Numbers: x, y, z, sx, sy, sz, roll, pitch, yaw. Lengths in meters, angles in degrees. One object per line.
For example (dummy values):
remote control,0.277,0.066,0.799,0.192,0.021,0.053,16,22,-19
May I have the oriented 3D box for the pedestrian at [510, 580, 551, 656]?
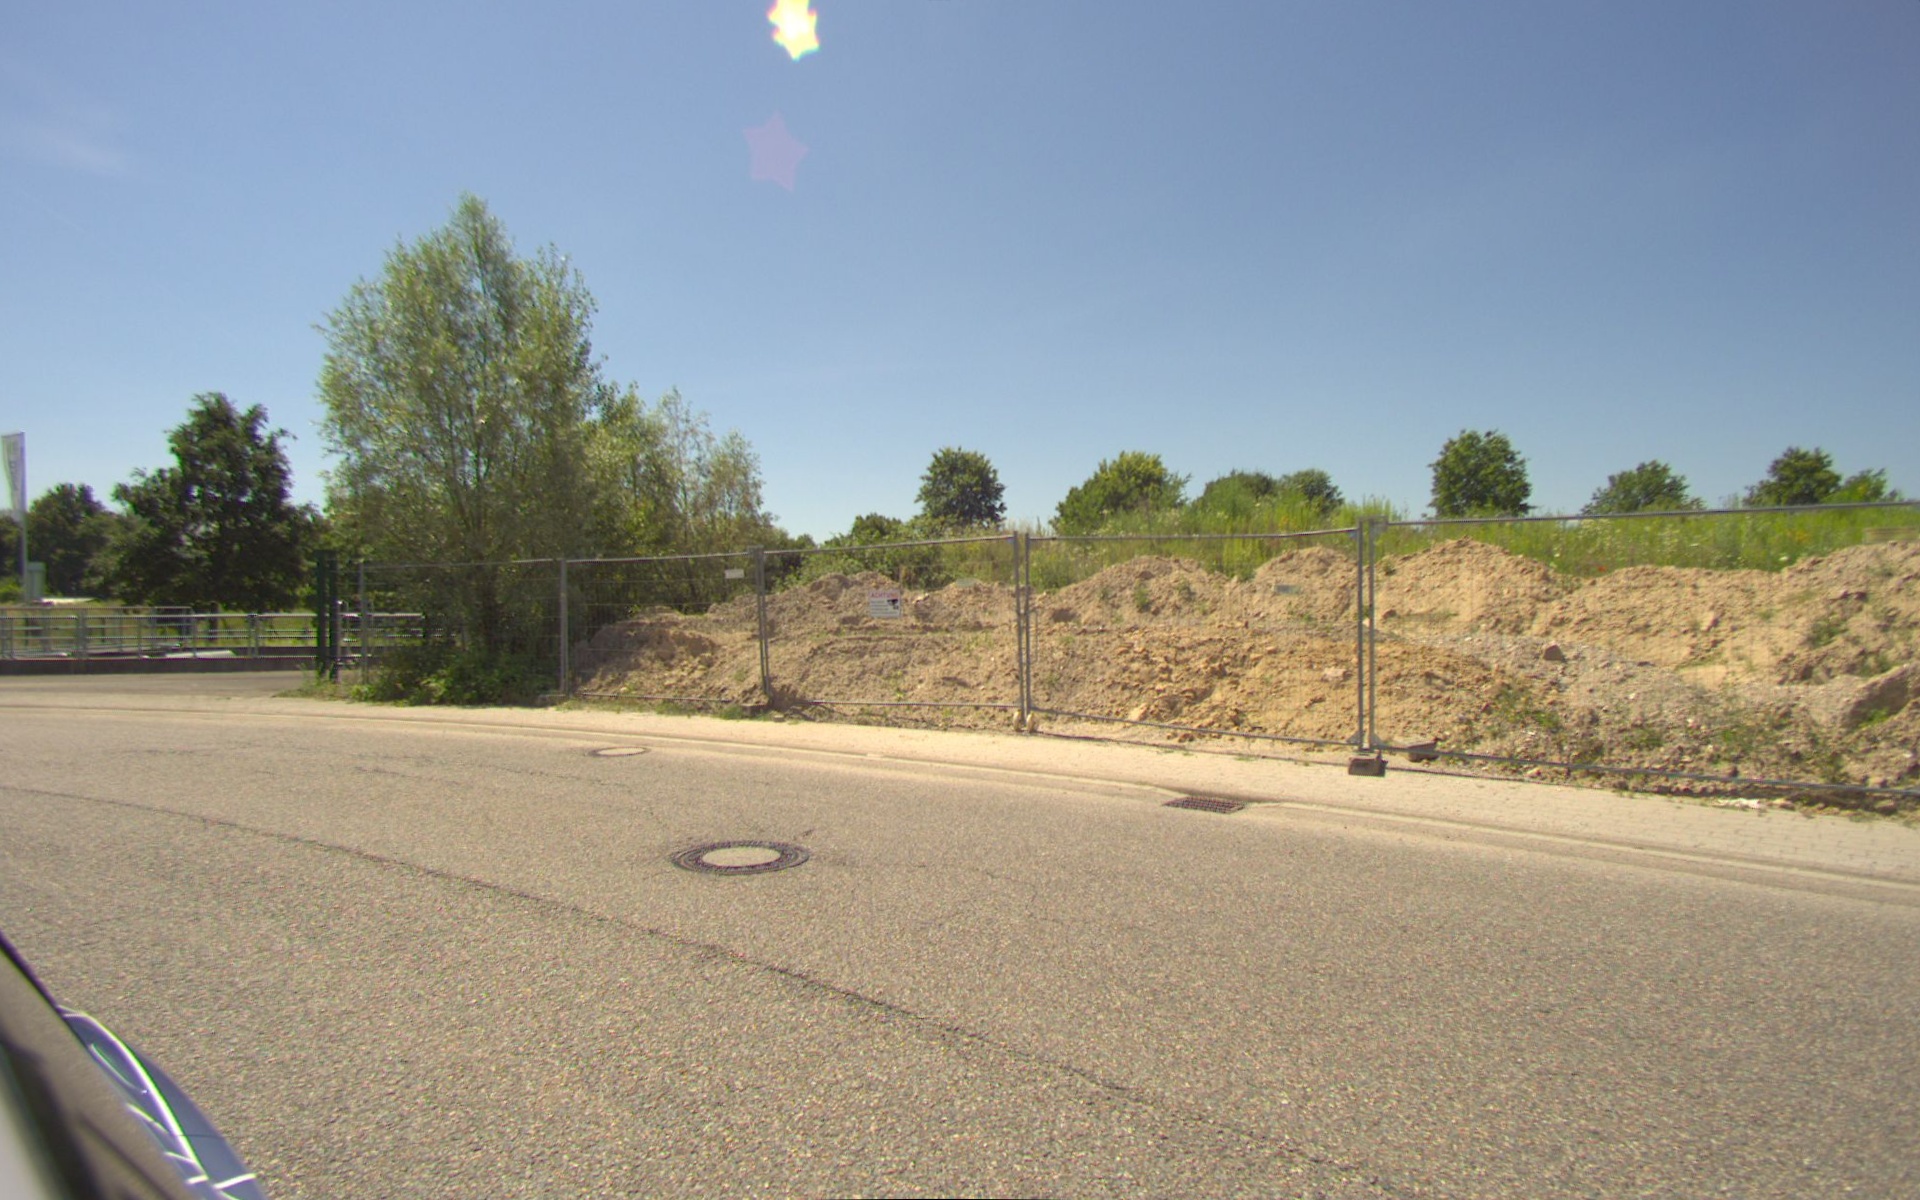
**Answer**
pedestrian,-12.466,0.515,29.402,0.902,2.167,0.881,-1,-1,-8
